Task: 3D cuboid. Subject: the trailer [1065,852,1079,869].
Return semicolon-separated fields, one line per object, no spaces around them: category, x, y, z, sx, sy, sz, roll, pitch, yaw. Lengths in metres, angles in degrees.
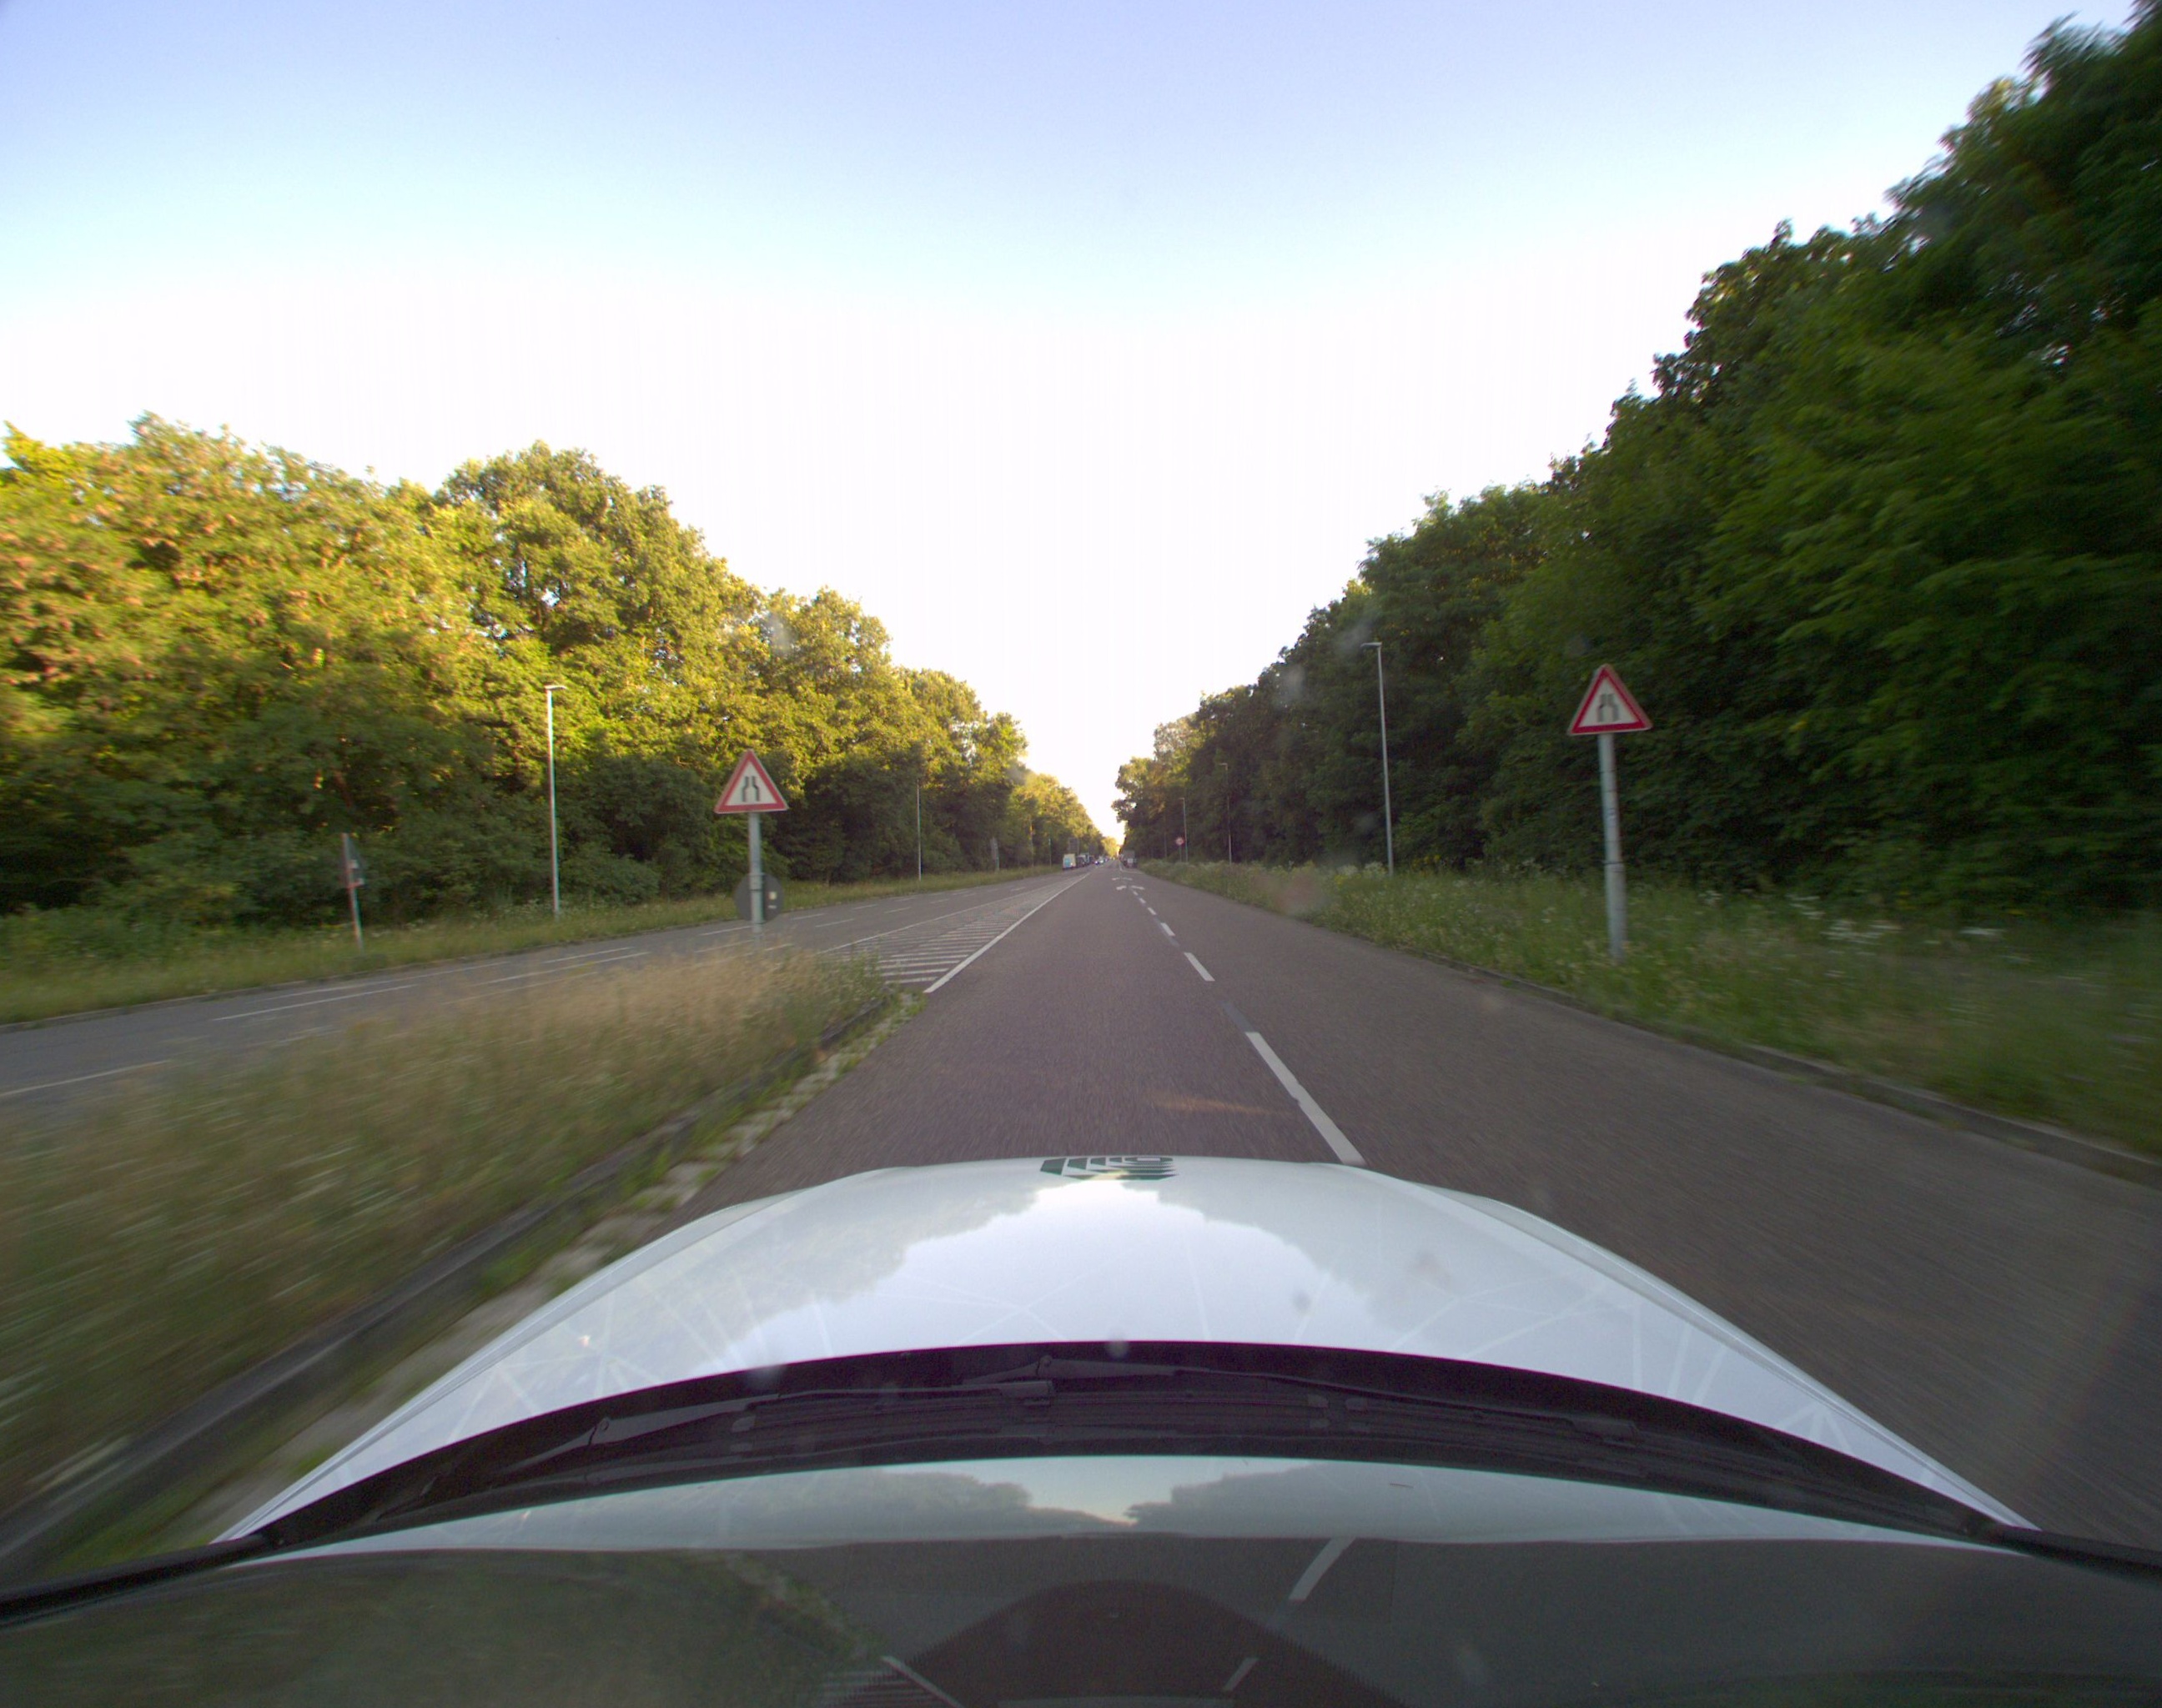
trailer;-1.650;1.280;152.054;2.317;2.924;5.629;-4;-1;2

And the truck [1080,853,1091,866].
truck;1.300;1.414;220.469;2.494;3.329;6.845;-3;0;2

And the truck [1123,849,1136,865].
truck;10.018;0.673;168.271;2.577;3.255;7.228;-1;-1;4

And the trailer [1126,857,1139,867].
trailer;8.614;1.305;135.698;1.445;1.662;3.793;-3;-1;16

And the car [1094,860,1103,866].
car;4.708;2.293;216.384;2.054;1.435;4.471;-4;-1;5

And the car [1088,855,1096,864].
car;3.403;1.749;255.082;2.178;2.788;5.337;-3;0;2

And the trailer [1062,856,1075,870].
trailer;-2.121;1.528;136.438;1.810;2.167;4.144;-3;0;1

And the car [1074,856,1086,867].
car;-0.191;1.642;177.248;1.986;2.364;5.769;-5;-1;2
